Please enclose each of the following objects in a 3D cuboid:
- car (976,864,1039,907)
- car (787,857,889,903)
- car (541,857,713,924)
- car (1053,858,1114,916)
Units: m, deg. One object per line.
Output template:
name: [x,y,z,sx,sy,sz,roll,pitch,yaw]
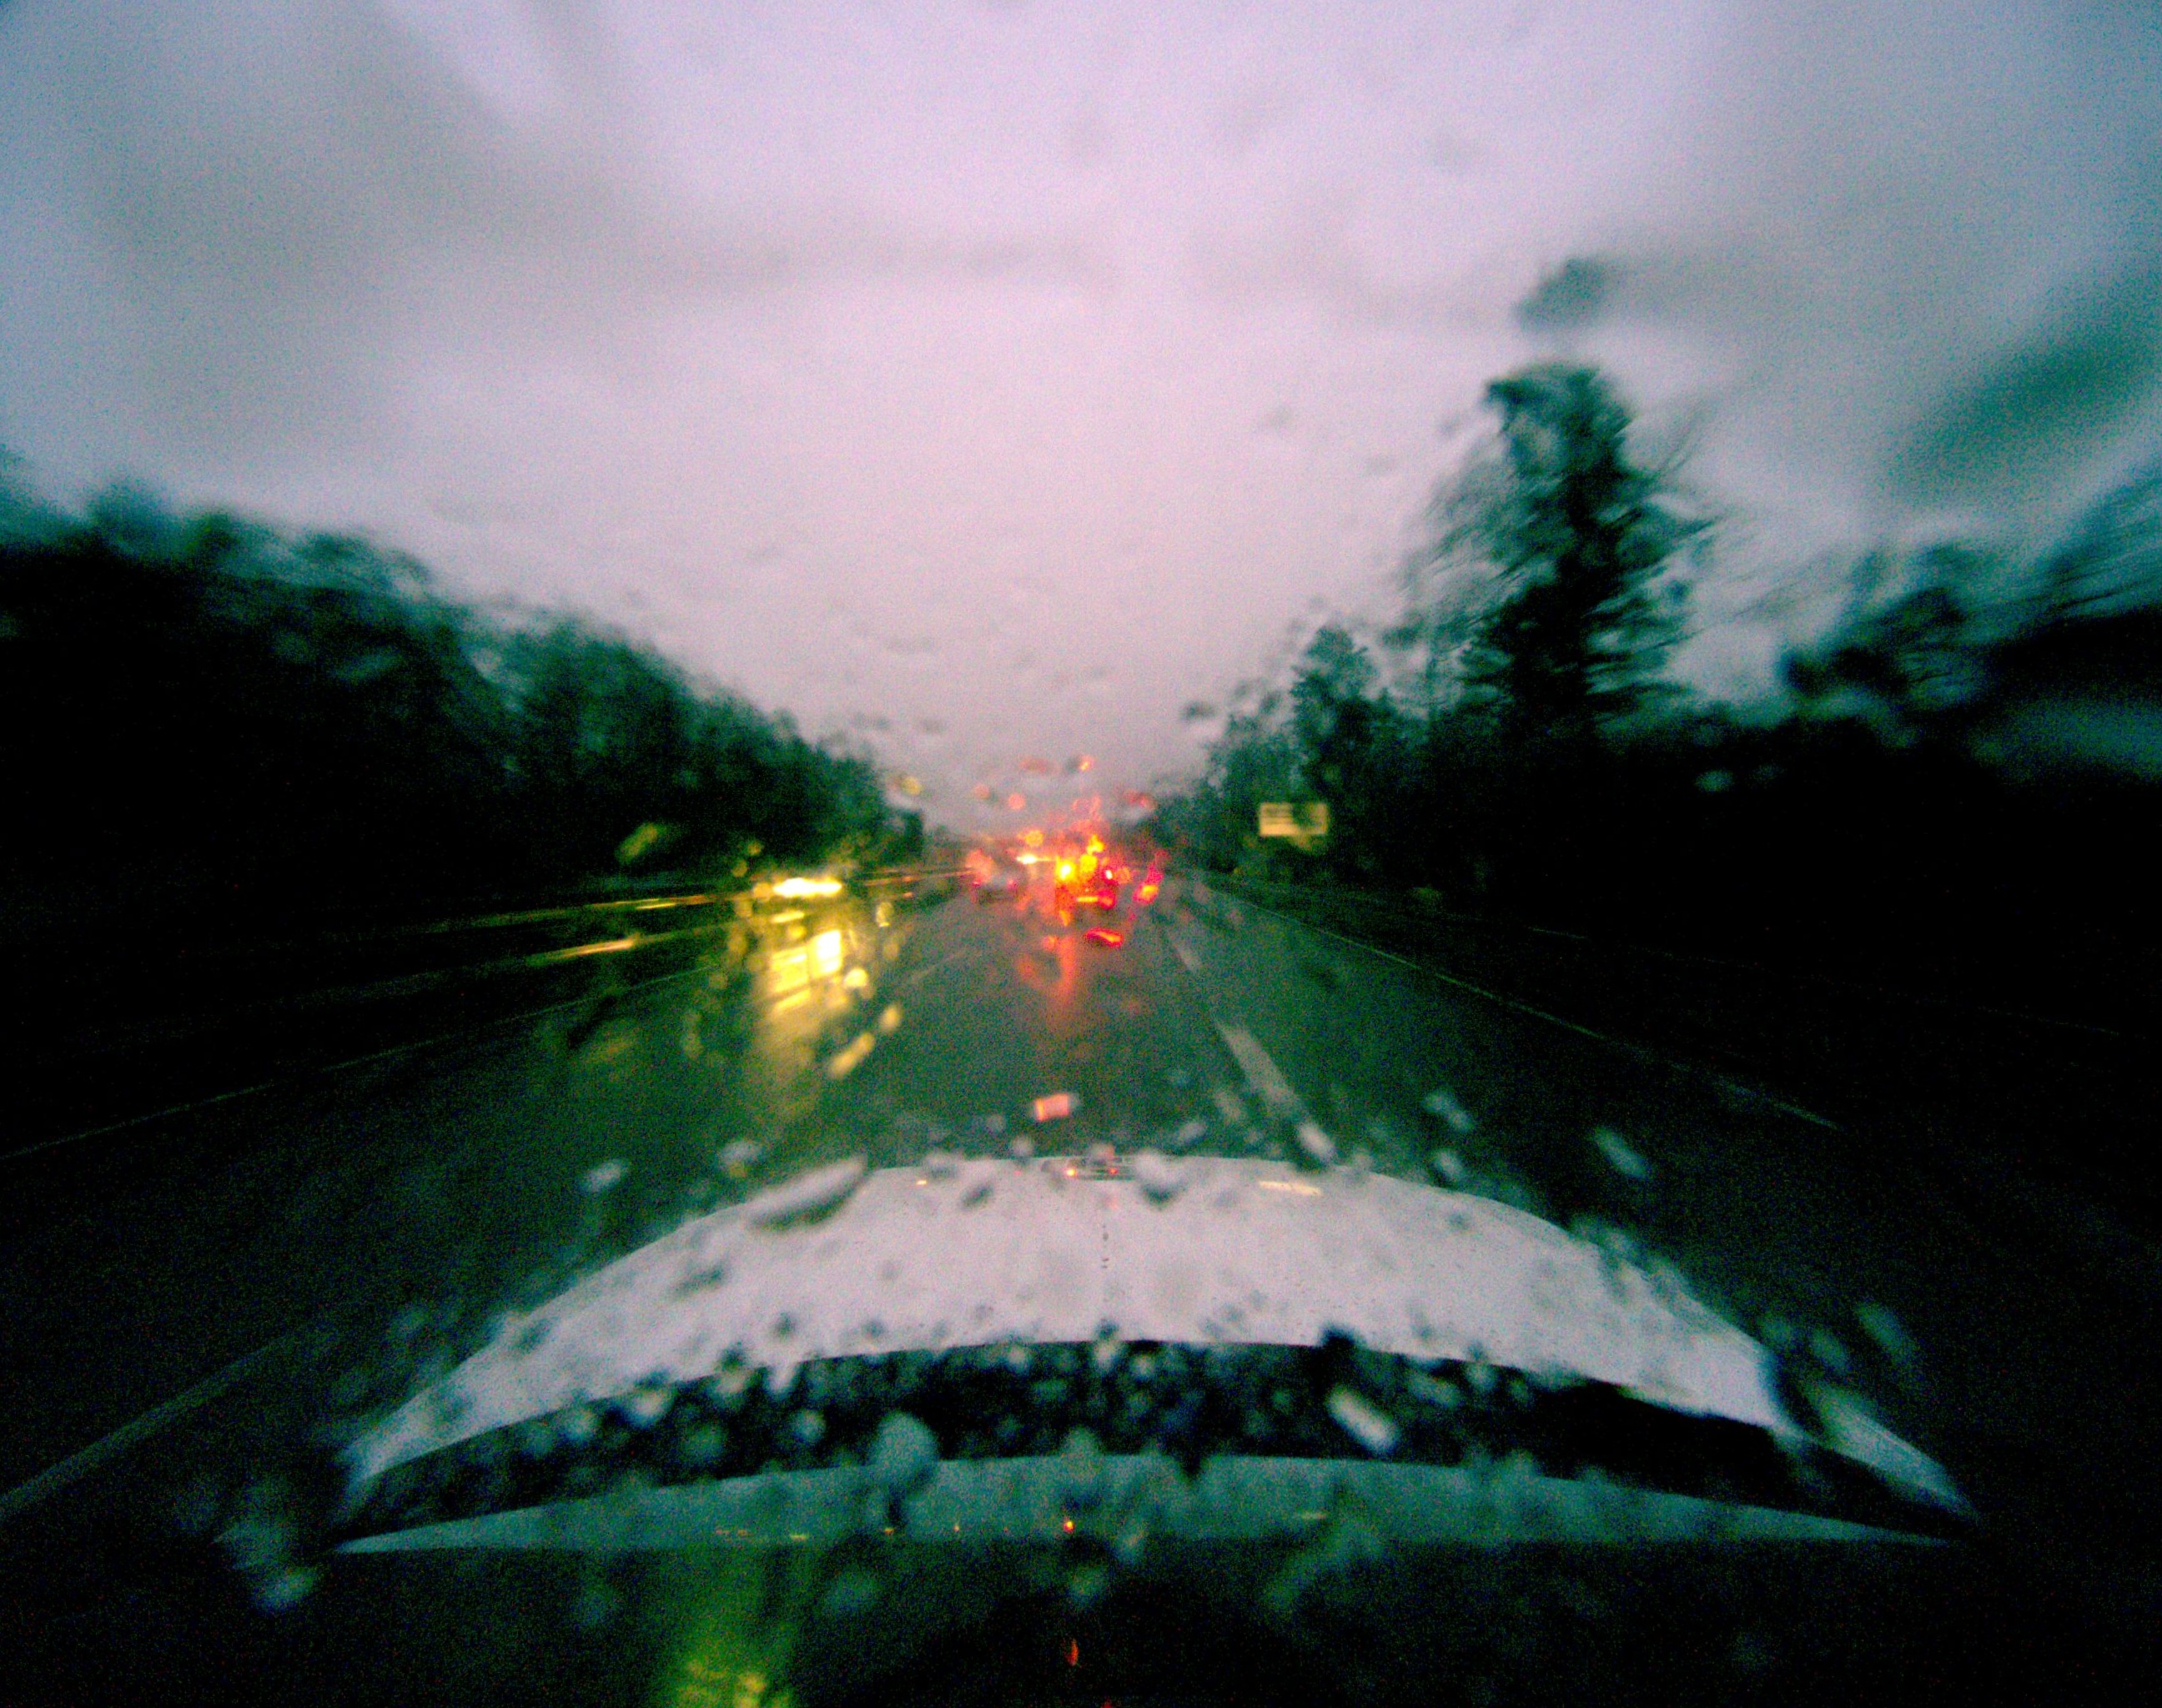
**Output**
car: [-2.850,1.201,32.514,1.768,1.534,4.706,-2,-1,3]
car: [-9.149,0.908,31.178,1.985,1.526,5.379,2,0,3]
car: [-13.574,1.017,24.790,1.983,1.753,4.909,2,0,7]
car: [0.140,0.843,22.566,1.521,1.415,3.481,2,0,2]
